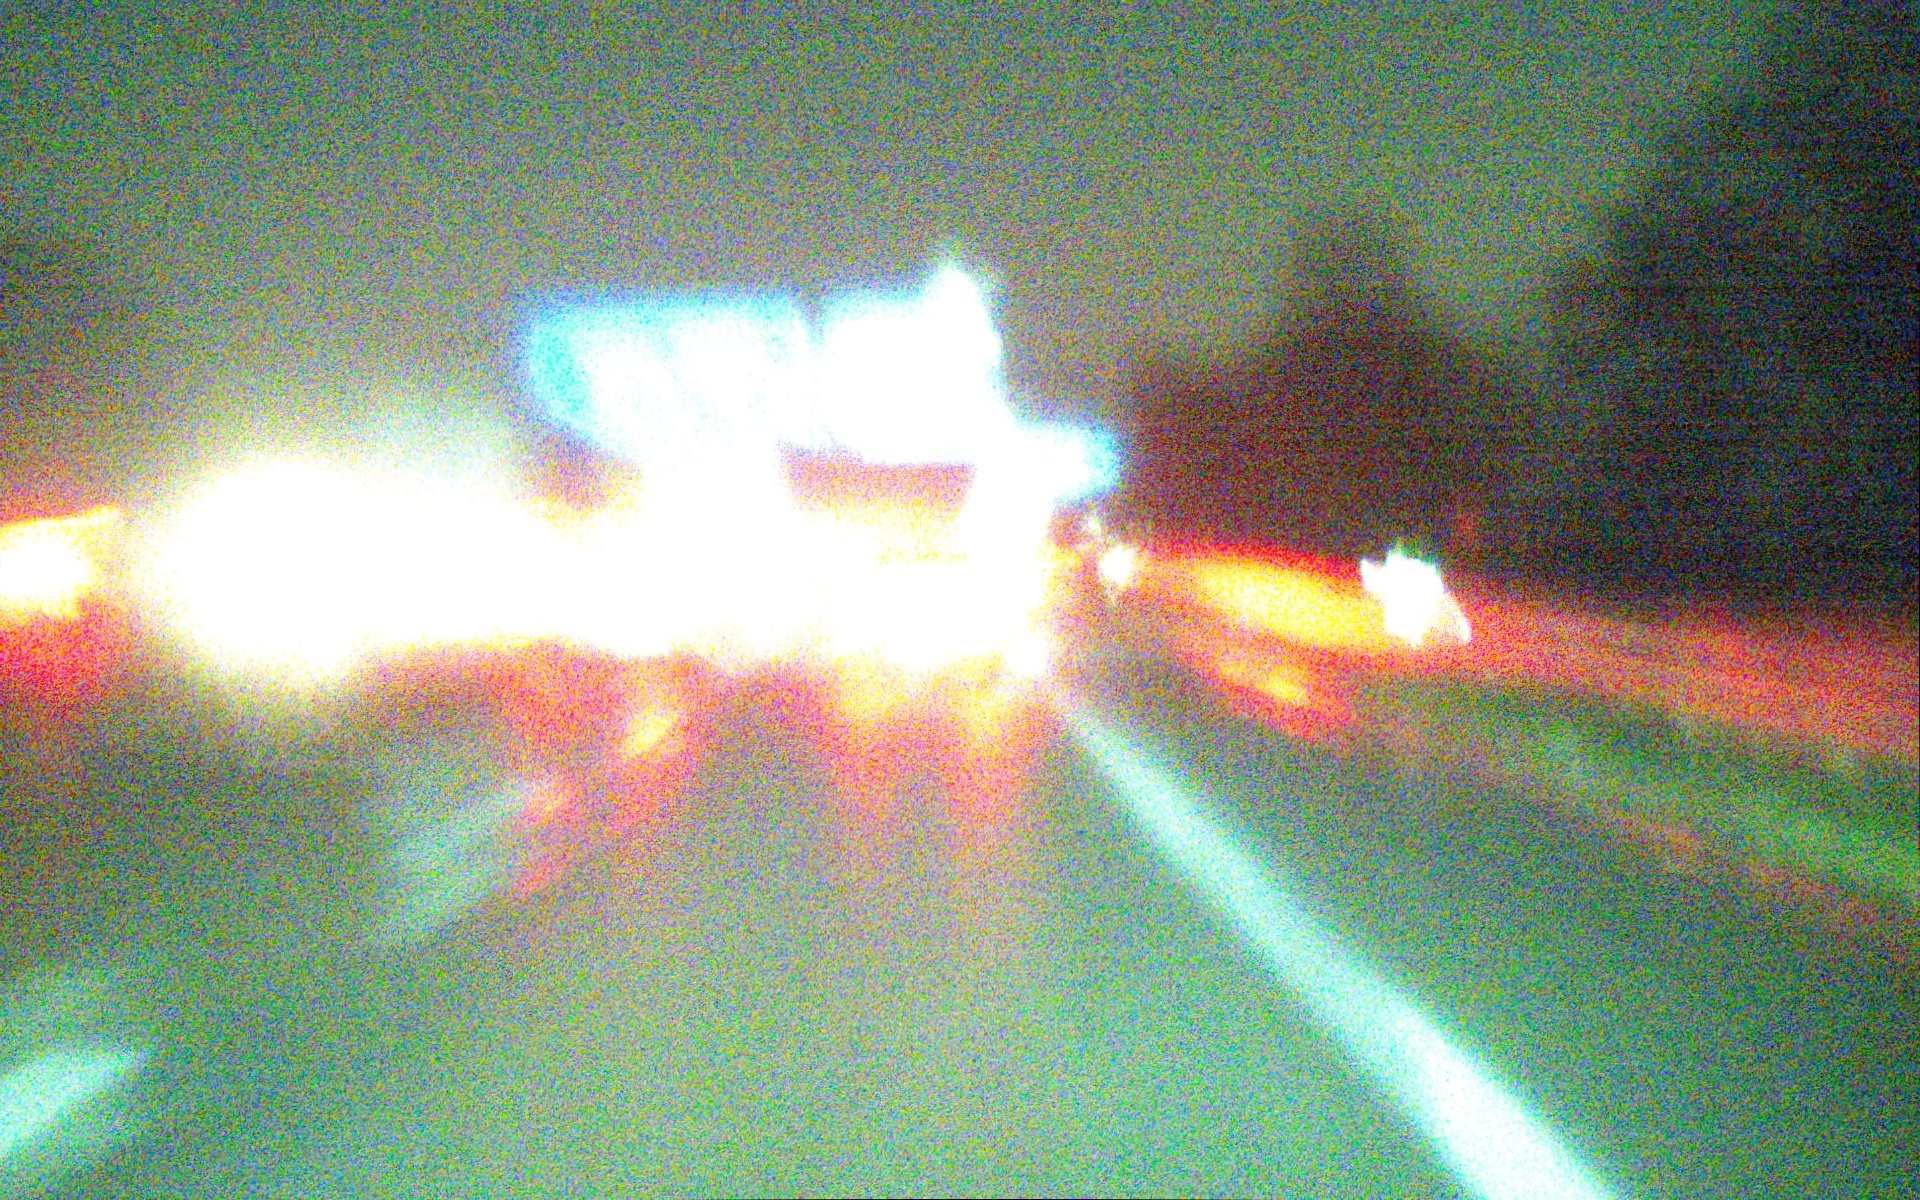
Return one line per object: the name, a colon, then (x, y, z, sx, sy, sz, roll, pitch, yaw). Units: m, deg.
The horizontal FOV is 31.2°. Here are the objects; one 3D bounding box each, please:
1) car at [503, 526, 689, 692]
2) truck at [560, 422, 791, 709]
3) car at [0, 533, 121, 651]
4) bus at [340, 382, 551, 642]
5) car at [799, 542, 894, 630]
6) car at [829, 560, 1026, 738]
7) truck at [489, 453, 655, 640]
car: (-4.684, 0.092, 44.834, 2.125, 2.007, 4.646, 1, 0, -3)
truck: (-5.945, -0.722, 74.210, 4.210, 5.629, 11.468, 1, 0, -1)
car: (-13.151, -0.132, 48.724, 1.993, 1.590, 4.001, 1, 0, -7)
bus: (-9.667, -1.589, 65.754, 3.096, 4.492, 10.915, 1, 0, -4)
car: (-2.731, -0.340, 81.552, 2.125, 2.007, 4.646, 1, 0, -3)
car: (-0.362, 0.491, 37.503, 1.993, 1.801, 4.000, 1, 0, -1)
truck: (-12.362, -1.670, 110.676, 4.210, 5.629, 11.468, 1, 0, -1)
